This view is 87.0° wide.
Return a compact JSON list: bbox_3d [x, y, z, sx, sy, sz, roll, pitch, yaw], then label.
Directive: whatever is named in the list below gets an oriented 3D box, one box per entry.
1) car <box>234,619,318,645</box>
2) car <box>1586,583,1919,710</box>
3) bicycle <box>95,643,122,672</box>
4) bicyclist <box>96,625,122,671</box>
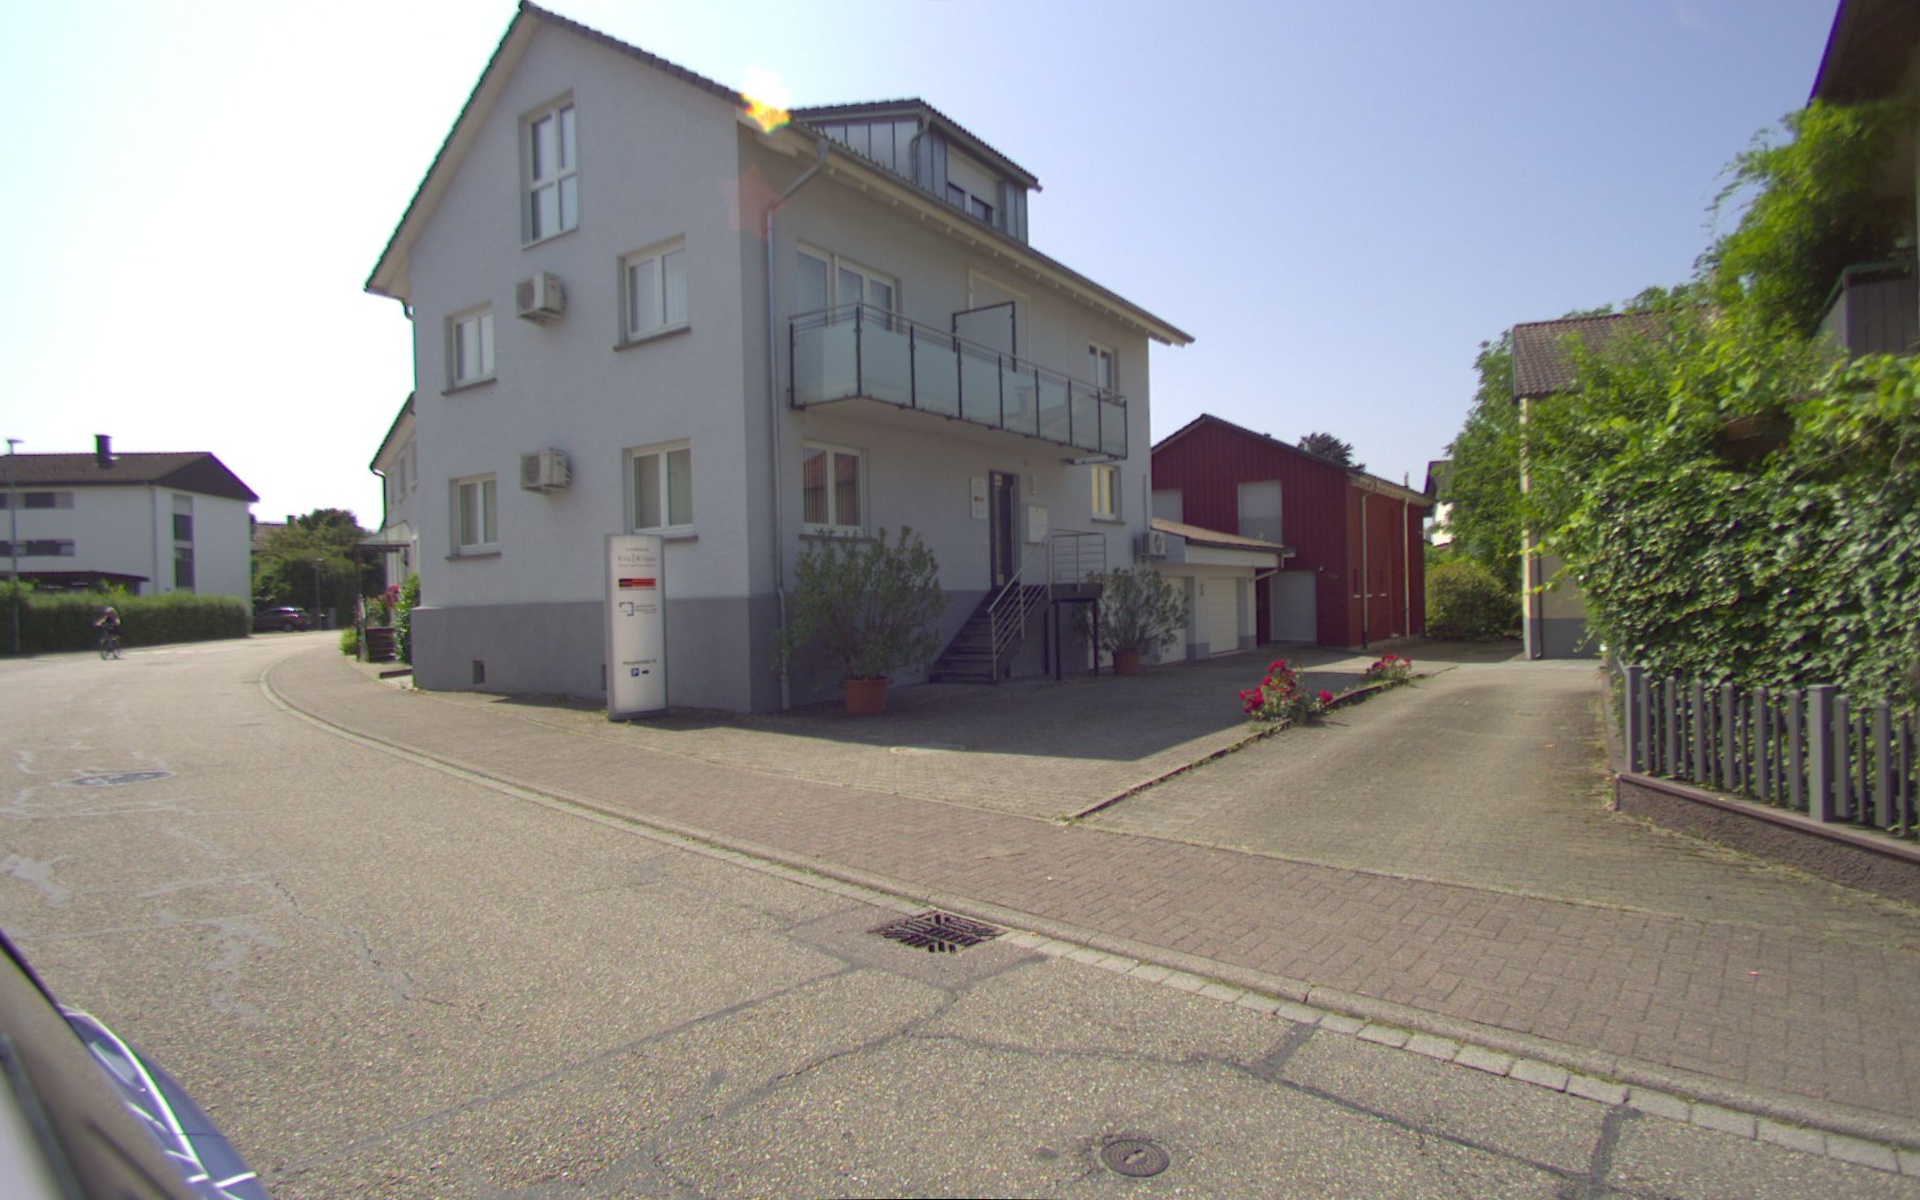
[{"bbox_3d":[-45.969,2.121,68.109,4.221,1.684,2.071,0,-1,-14],"label":"car"},{"bbox_3d":[12.264,0.725,15.451,4.597,1.769,1.733,1,-2,-10],"label":"car"},{"bbox_3d":[-28.192,1.892,33.515,0.513,0.911,1.317,-1,-1,-32],"label":"bicycle"},{"bbox_3d":[-28.260,1.592,33.614,0.538,1.501,0.799,-1,-1,-32],"label":"bicyclist"}]
